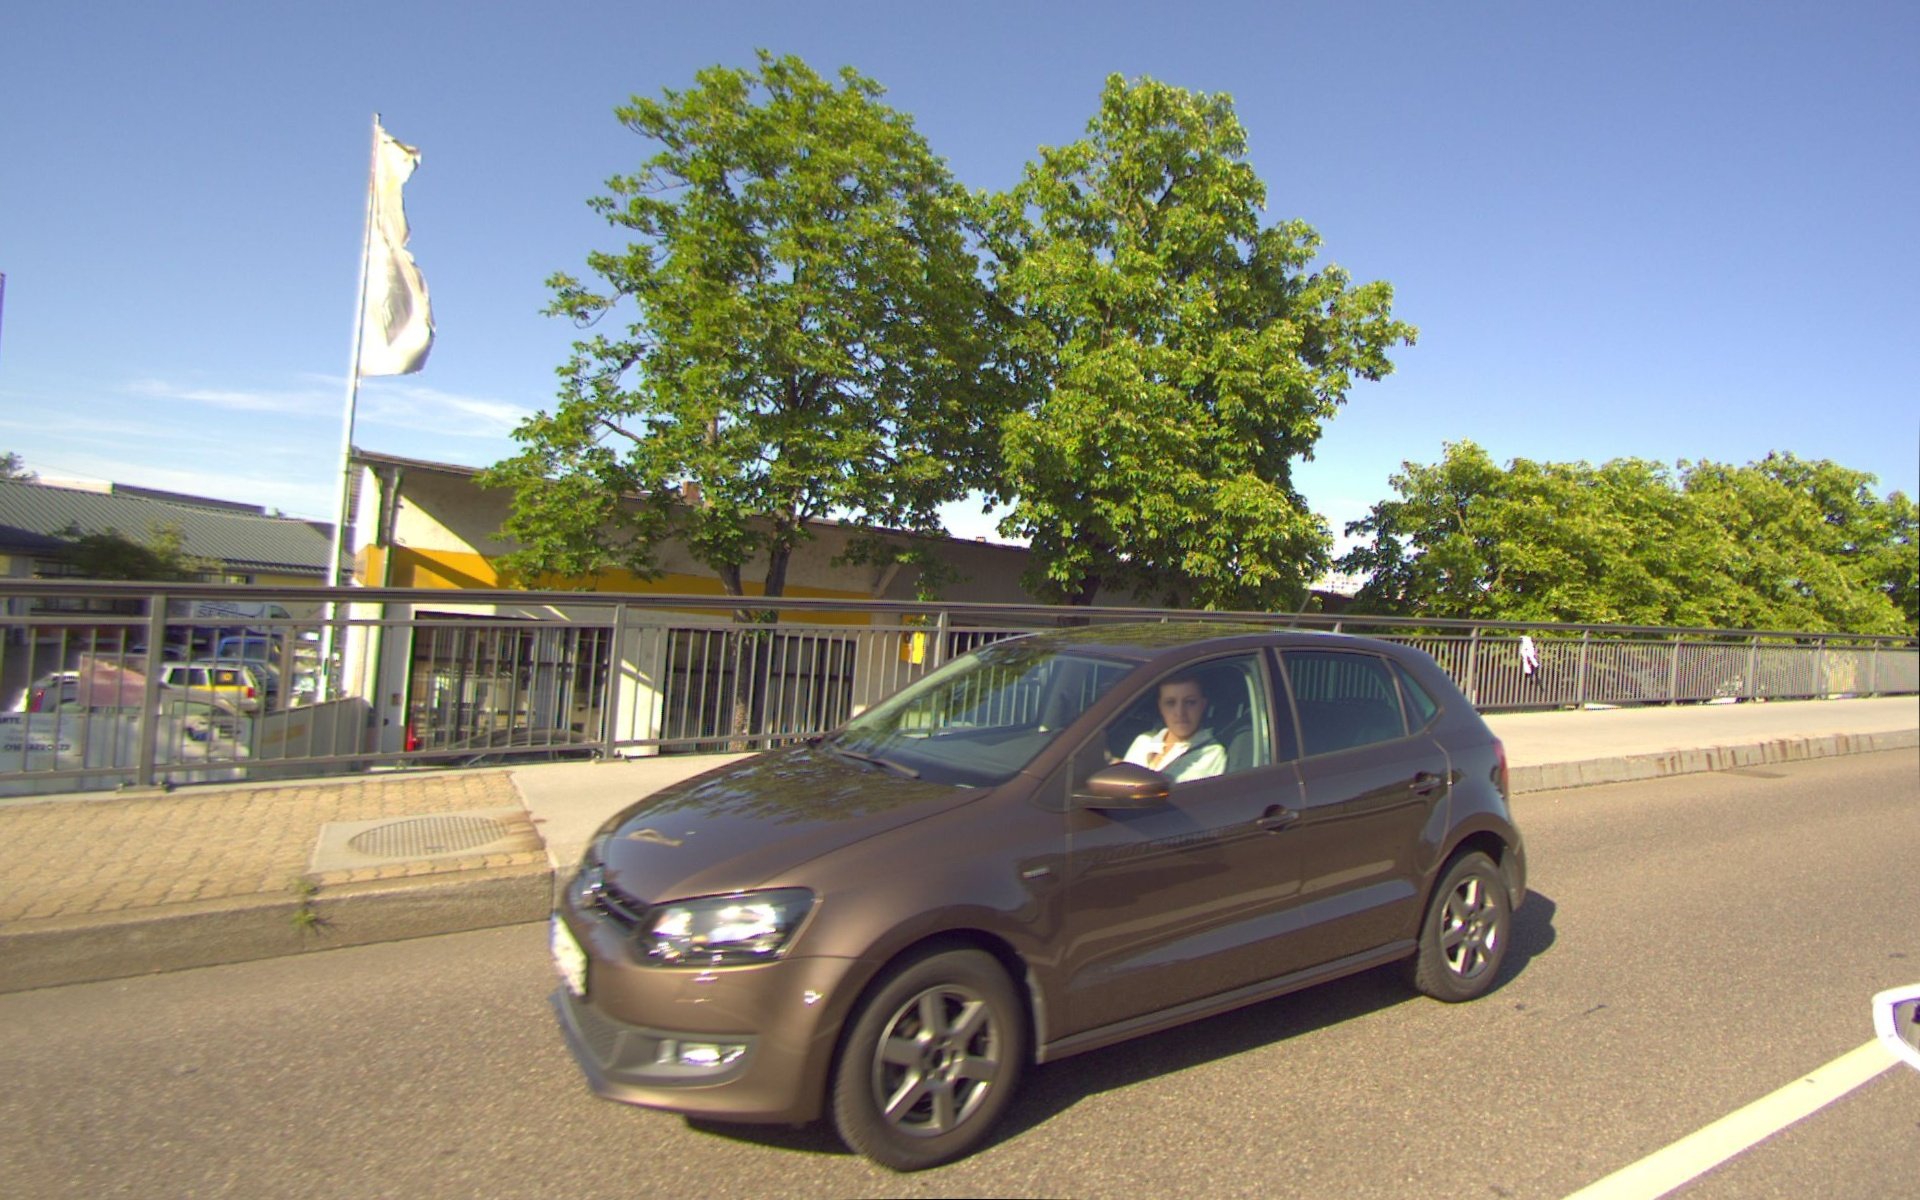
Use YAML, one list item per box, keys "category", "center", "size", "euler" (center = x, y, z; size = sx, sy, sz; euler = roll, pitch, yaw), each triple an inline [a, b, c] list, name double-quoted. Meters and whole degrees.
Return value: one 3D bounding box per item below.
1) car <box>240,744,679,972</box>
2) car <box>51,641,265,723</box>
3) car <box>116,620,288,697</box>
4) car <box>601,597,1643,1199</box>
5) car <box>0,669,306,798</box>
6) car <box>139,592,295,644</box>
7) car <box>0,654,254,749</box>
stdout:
- category: "car"
  center: [-5.708, 2.882, 11.926]
  size: [4.202, 2.017, 1.917]
  euler: [5, -1, -26]
- category: "car"
  center: [-19.897, 2.065, 25.164]
  size: [3.963, 1.768, 1.979]
  euler: [5, -1, -36]
- category: "car"
  center: [-22.991, 1.799, 30.654]
  size: [3.963, 2.040, 1.979]
  euler: [5, -1, -36]
- category: "car"
  center: [0.798, 0.802, 4.030]
  size: [3.944, 1.494, 1.761]
  euler: [2, -1, -31]
- category: "car"
  center: [-14.015, 2.274, 17.683]
  size: [3.966, 1.876, 1.978]
  euler: [5, -2, -38]
- category: "car"
  center: [-32.800, 0.832, 44.553]
  size: [1.960, 2.040, 5.294]
  euler: [4, -1, 19]
- category: "car"
  center: [-18.455, 2.190, 22.389]
  size: [1.968, 1.749, 3.985]
  euler: [4, -1, 38]
